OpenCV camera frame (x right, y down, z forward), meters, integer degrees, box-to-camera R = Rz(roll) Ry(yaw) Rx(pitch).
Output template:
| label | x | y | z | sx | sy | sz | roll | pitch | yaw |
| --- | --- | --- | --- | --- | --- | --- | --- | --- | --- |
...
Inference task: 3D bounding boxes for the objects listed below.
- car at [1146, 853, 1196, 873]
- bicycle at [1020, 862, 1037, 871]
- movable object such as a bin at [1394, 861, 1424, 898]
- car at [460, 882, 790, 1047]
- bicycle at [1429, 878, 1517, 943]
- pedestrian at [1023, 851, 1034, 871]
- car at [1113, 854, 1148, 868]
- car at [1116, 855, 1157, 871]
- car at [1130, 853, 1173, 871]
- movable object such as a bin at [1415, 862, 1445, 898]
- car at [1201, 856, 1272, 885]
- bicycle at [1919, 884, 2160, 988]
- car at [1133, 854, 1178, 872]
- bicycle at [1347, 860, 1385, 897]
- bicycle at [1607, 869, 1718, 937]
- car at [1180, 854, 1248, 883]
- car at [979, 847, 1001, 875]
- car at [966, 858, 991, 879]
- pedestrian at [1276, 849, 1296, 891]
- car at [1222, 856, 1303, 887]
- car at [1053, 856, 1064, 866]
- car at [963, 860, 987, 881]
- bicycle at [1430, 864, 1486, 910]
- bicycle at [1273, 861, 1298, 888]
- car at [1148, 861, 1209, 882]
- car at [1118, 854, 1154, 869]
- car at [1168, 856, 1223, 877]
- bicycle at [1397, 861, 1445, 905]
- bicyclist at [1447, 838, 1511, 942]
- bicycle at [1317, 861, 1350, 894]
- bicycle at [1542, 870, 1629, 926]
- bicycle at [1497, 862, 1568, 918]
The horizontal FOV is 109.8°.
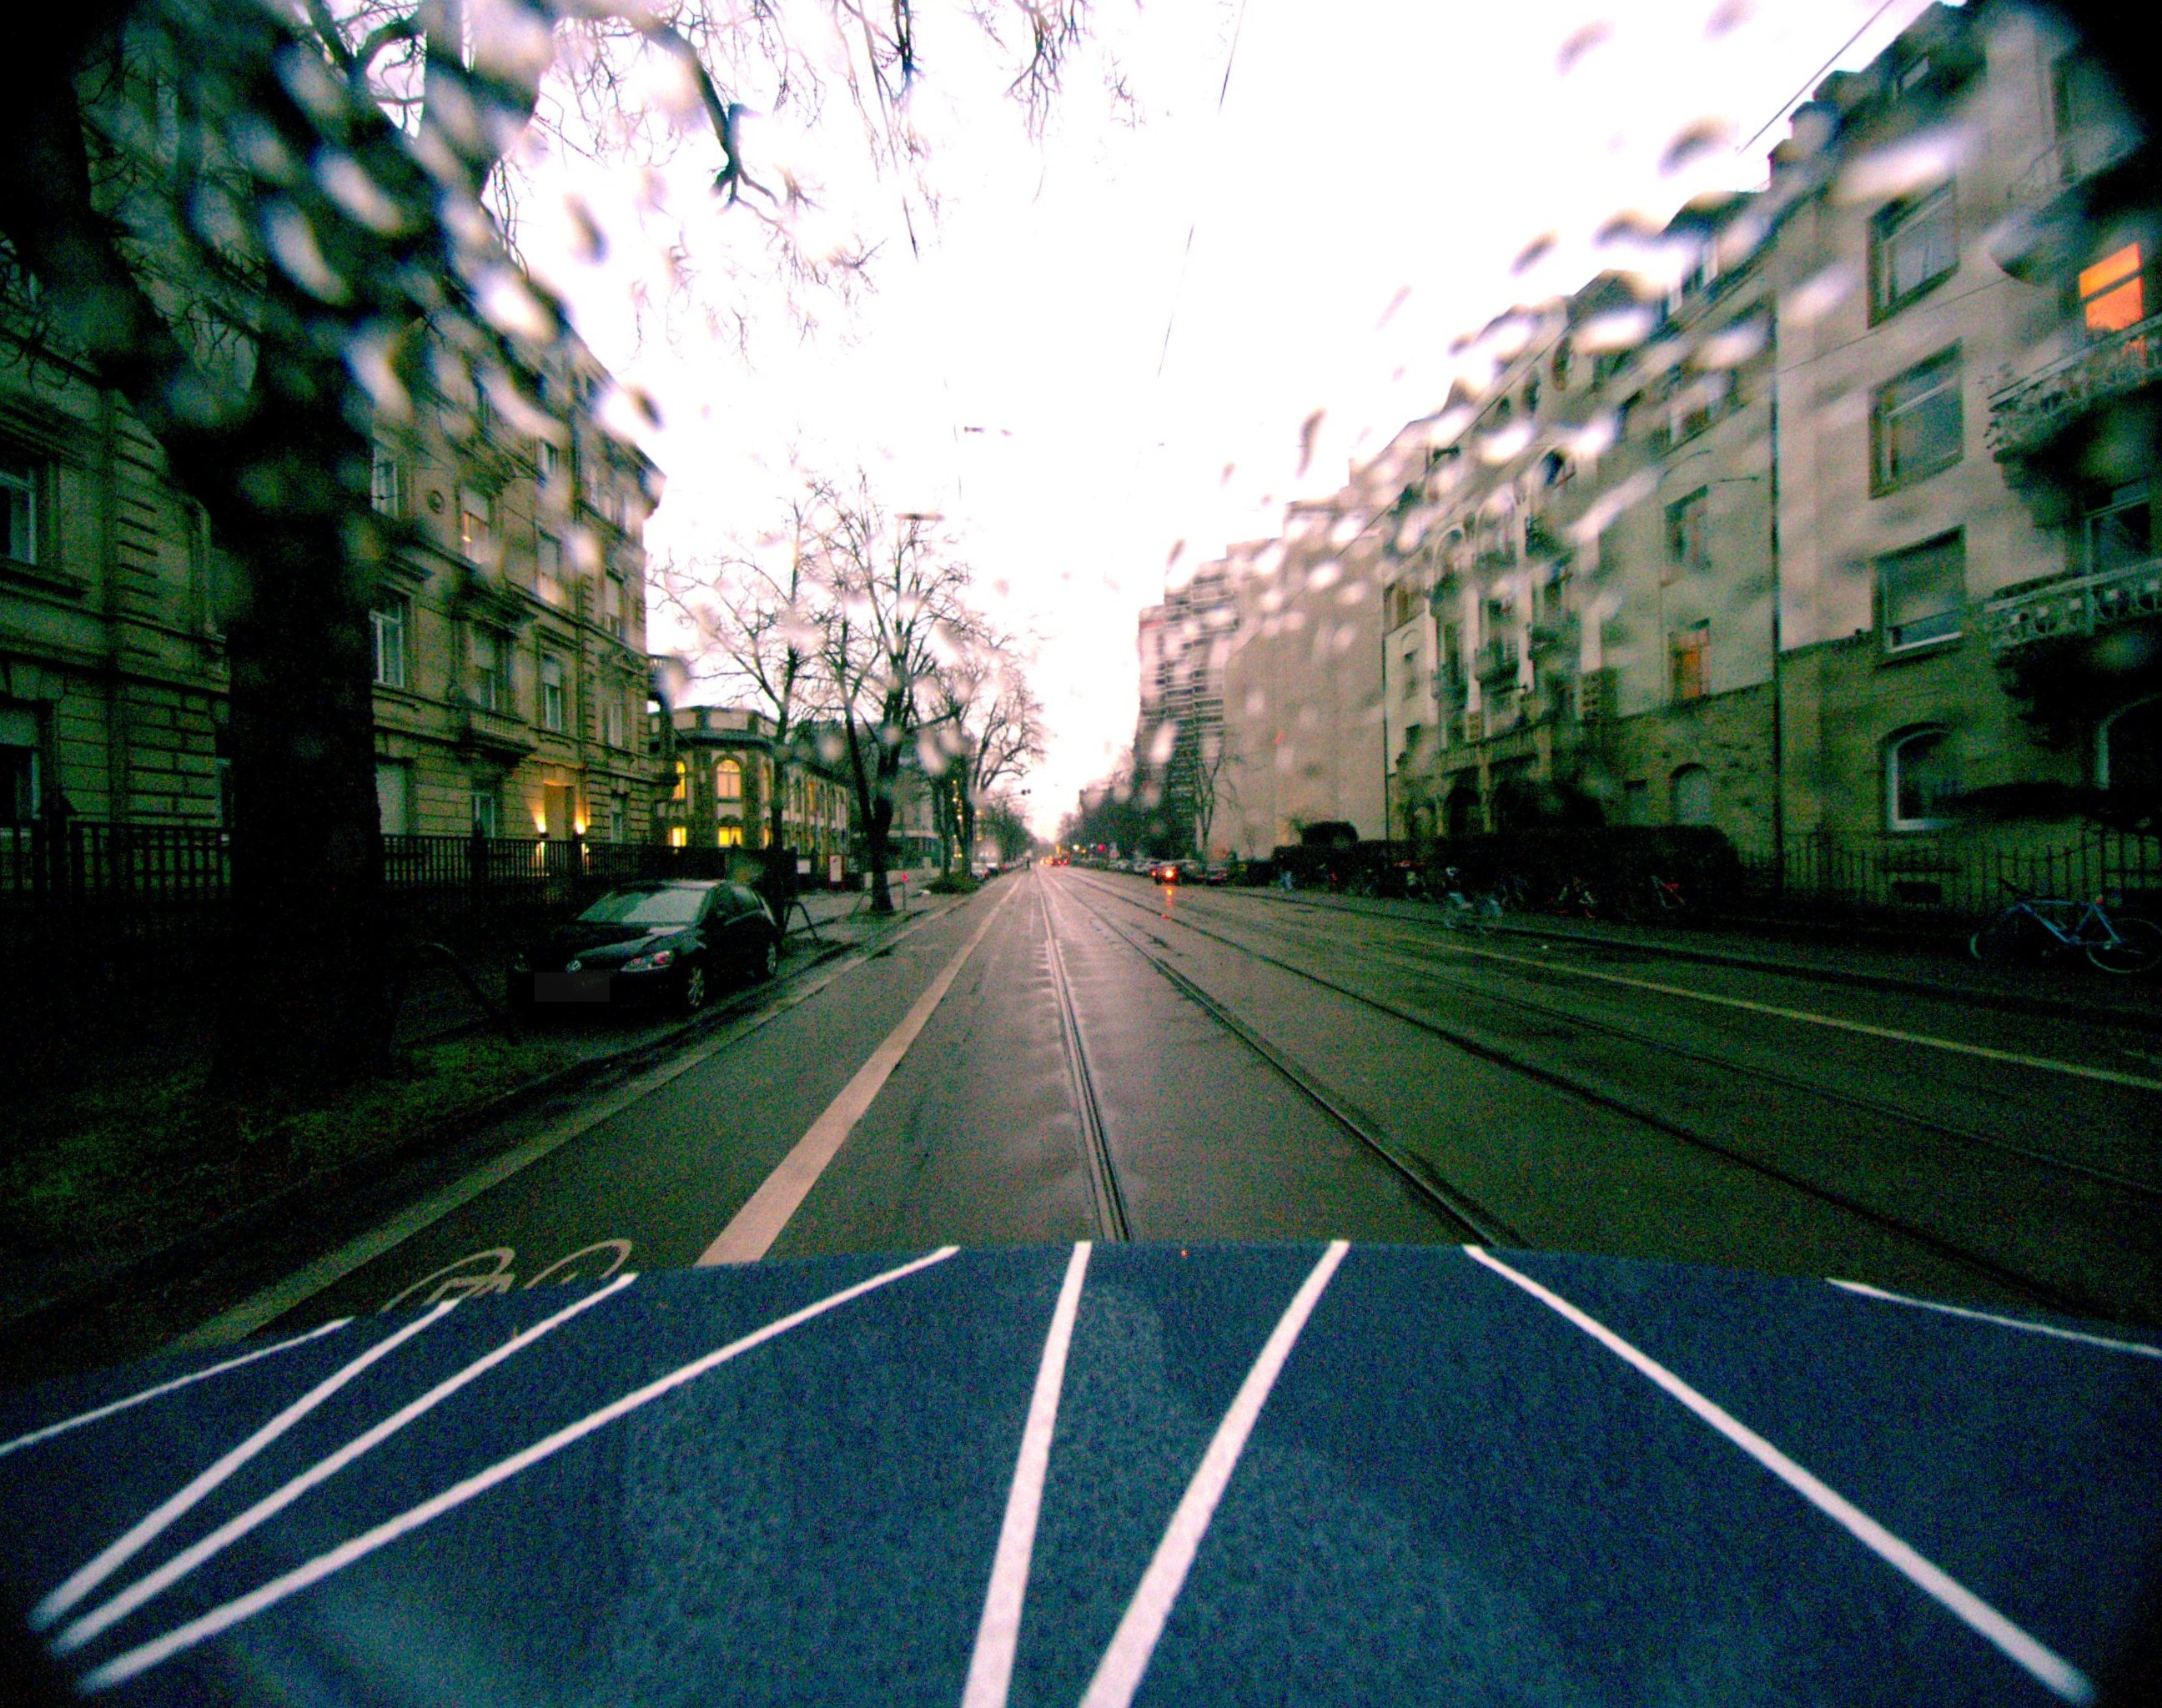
| label | x | y | z | sx | sy | sz | roll | pitch | yaw |
| --- | --- | --- | --- | --- | --- | --- | --- | --- | --- |
| car | 7.497 | 0.726 | 63.215 | 4.008 | 1.586 | 1.864 | -2 | 0 | -40 |
| bicycle | -6.042 | 1.425 | 87.513 | 1.918 | 0.986 | 0.858 | -2 | 1 | -5 |
| movable object such as a bin | 10.577 | 0.824 | 24.552 | 0.659 | 1.157 | 0.674 | -1 | 0 | -1 |
| car | -5.098 | 1.127 | 9.272 | 1.762 | 1.437 | 4.156 | 1 | -1 | -4 |
| bicycle | 7.399 | 1.034 | 14.458 | 0.625 | 1.086 | 1.947 | -1 | 0 | -1 |
| pedestrian | -6.062 | 0.816 | 87.501 | 1.118 | 2.246 | 0.952 | -2 | 1 | -6 |
| car | 5.967 | 0.813 | 91.523 | 4.008 | 1.586 | 1.864 | -2 | 0 | -40 |
| car | 5.741 | 0.914 | 77.918 | 4.008 | 1.586 | 1.864 | -2 | 0 | -40 |
| car | 6.763 | 0.788 | 72.679 | 4.008 | 1.586 | 1.864 | -2 | 0 | -40 |
| movable object such as a bin | 11.288 | 0.835 | 24.571 | 0.625 | 1.157 | 0.674 | -1 | 0 | -1 |
| car | 8.838 | 0.906 | 43.062 | 4.008 | 1.477 | 1.760 | -2 | 0 | -40 |
| bicycle | 10.755 | 0.870 | 8.630 | 0.625 | 0.997 | 1.662 | -1 | 0 | -1 |
| car | 6.844 | 0.806 | 69.542 | 4.008 | 1.586 | 1.864 | -2 | 0 | -40 |
| bicycle | 9.797 | 0.828 | 26.165 | 0.625 | 1.205 | 1.662 | -1 | 0 | -1 |
| bicycle | 10.479 | 0.848 | 13.782 | 0.625 | 1.119 | 1.783 | -1 | 0 | -1 |
| car | 8.084 | 0.876 | 46.107 | 4.008 | 1.586 | 1.864 | -2 | 0 | -40 |
| car | -9.184 | 0.643 | 77.067 | 2.094 | 2.622 | 5.446 | -2 | 1 | -6 |
| car | -8.990 | 1.222 | 67.033 | 2.000 | 1.672 | 3.997 | -2 | 1 | -6 |
| pedestrian | 8.494 | 0.656 | 31.511 | 0.574 | 1.715 | 0.644 | -3 | 2 | 1 |
| car | 9.701 | 0.883 | 40.485 | 4.006 | 1.485 | 1.865 | -2 | 0 | -32 |
| car | -5.024 | 1.623 | 170.823 | 2.239 | 2.002 | 4.458 | -2 | 1 | -5 |
| car | -7.928 | 1.224 | 57.091 | 1.628 | 1.399 | 3.997 | -2 | 1 | -6 |
| bicycle | 9.983 | 0.848 | 20.185 | 0.625 | 1.157 | 1.662 | -1 | 0 | -1 |
| bicycle | 9.078 | 0.904 | 33.776 | 0.625 | 1.157 | 1.662 | -2 | 0 | -1 |
| car | 6.022 | 1.061 | 46.849 | 3.673 | 1.245 | 1.707 | 0 | 0 | -41 |
| car | 6.442 | 0.902 | 89.340 | 4.008 | 1.586 | 1.864 | -2 | 0 | -40 |
| car | 8.569 | 0.929 | 56.923 | 4.008 | 1.440 | 1.864 | -2 | 0 | -40 |
| bicycle | 9.925 | 0.830 | 22.267 | 0.625 | 1.205 | 1.662 | -1 | 0 | -1 |
| bicyclist | 7.409 | 0.657 | 14.180 | 0.625 | 1.865 | 0.991 | -1 | 0 | -1 |
| bicycle | 9.477 | 0.860 | 28.565 | 0.625 | 1.205 | 1.662 | -1 | 0 | -1 |
| bicycle | 10.384 | 0.880 | 15.715 | 0.625 | 1.059 | 1.726 | -1 | 0 | -1 |
| bicycle | 10.345 | 0.796 | 17.477 | 0.625 | 1.205 | 1.662 | -1 | 0 | -1 |
